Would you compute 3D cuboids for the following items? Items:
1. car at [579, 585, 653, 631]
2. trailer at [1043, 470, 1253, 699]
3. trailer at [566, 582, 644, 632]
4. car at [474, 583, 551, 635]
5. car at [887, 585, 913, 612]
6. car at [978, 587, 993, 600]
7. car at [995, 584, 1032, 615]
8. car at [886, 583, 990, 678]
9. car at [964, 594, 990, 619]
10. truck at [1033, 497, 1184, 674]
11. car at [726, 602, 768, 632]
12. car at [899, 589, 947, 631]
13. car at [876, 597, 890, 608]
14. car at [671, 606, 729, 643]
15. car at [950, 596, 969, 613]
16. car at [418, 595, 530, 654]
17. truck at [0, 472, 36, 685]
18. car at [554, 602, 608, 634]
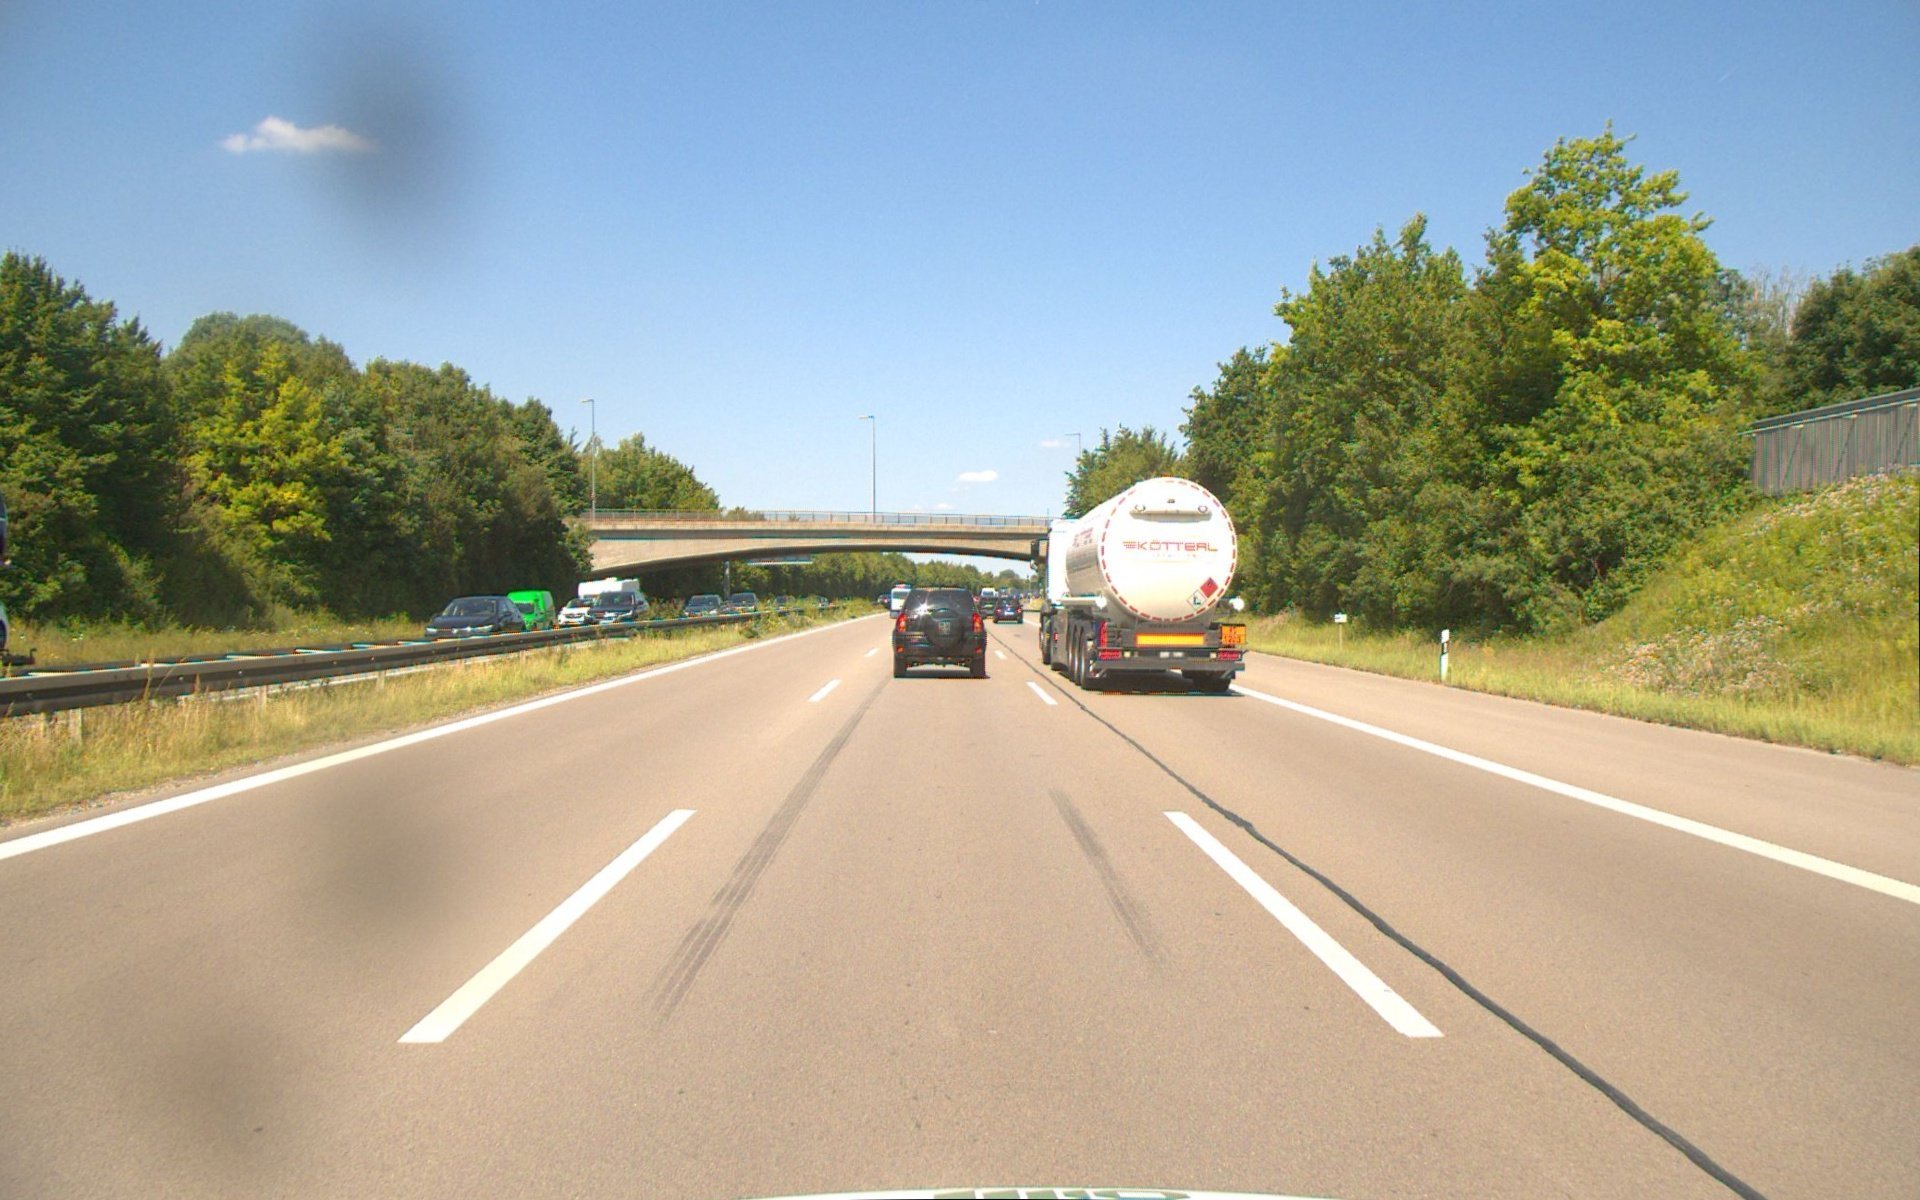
[{"bbox_3d":[-12.362,0.312,59.637,1.812,1.601,4.421,0,-1,-1],"label":"car"},{"bbox_3d":[3.141,-0.244,30.749,2.594,3.449,11.151,1,0,0],"label":"trailer"},{"bbox_3d":[-20.286,0.369,94.863,2.676,2.734,8.629,0,0,-1],"label":"trailer"},{"bbox_3d":[-16.780,0.317,62.210,1.777,1.840,4.380,0,0,-1],"label":"car"},{"bbox_3d":[-4.784,-0.117,131.542,1.953,2.049,4.947,-1,0,-2],"label":"car"},{"bbox_3d":[3.391,-0.868,223.753,1.776,1.777,3.998,-1,0,-2],"label":"car"},{"bbox_3d":[3.095,-0.006,96.847,1.953,1.713,3.999,0,-1,-1],"label":"car"},{"bbox_3d":[-0.447,0.549,31.872,1.868,1.694,3.999,0,0,-2],"label":"car"},{"bbox_3d":[1.174,0.473,116.568,1.804,1.640,4.000,0,-1,0],"label":"car"},{"bbox_3d":[3.056,-0.291,35.700,2.584,3.434,6.486,1,0,-1],"label":"truck"},{"bbox_3d":[-12.017,0.950,93.523,1.876,1.629,4.433,-1,0,-1],"label":"car"},{"bbox_3d":[-1.638,0.438,72.021,1.954,1.736,4.333,-1,0,-3],"label":"car"},{"bbox_3d":[-11.292,0.370,243.720,1.760,1.695,4.129,-1,0,1],"label":"car"},{"bbox_3d":[-12.390,1.139,79.126,1.953,1.633,5.089,0,0,0],"label":"car"},{"bbox_3d":[-0.062,0.511,181.624,1.953,1.780,4.204,0,0,-1],"label":"car"},{"bbox_3d":[-12.249,0.582,41.915,1.681,1.414,3.999,-1,0,-1],"label":"car"},{"bbox_3d":[-19.817,-0.357,24.811,3.147,4.120,16.666,-1,0,-2],"label":"truck"},{"bbox_3d":[-20.176,0.927,88.144,1.809,1.634,4.809,0,0,-1],"label":"car"}]
